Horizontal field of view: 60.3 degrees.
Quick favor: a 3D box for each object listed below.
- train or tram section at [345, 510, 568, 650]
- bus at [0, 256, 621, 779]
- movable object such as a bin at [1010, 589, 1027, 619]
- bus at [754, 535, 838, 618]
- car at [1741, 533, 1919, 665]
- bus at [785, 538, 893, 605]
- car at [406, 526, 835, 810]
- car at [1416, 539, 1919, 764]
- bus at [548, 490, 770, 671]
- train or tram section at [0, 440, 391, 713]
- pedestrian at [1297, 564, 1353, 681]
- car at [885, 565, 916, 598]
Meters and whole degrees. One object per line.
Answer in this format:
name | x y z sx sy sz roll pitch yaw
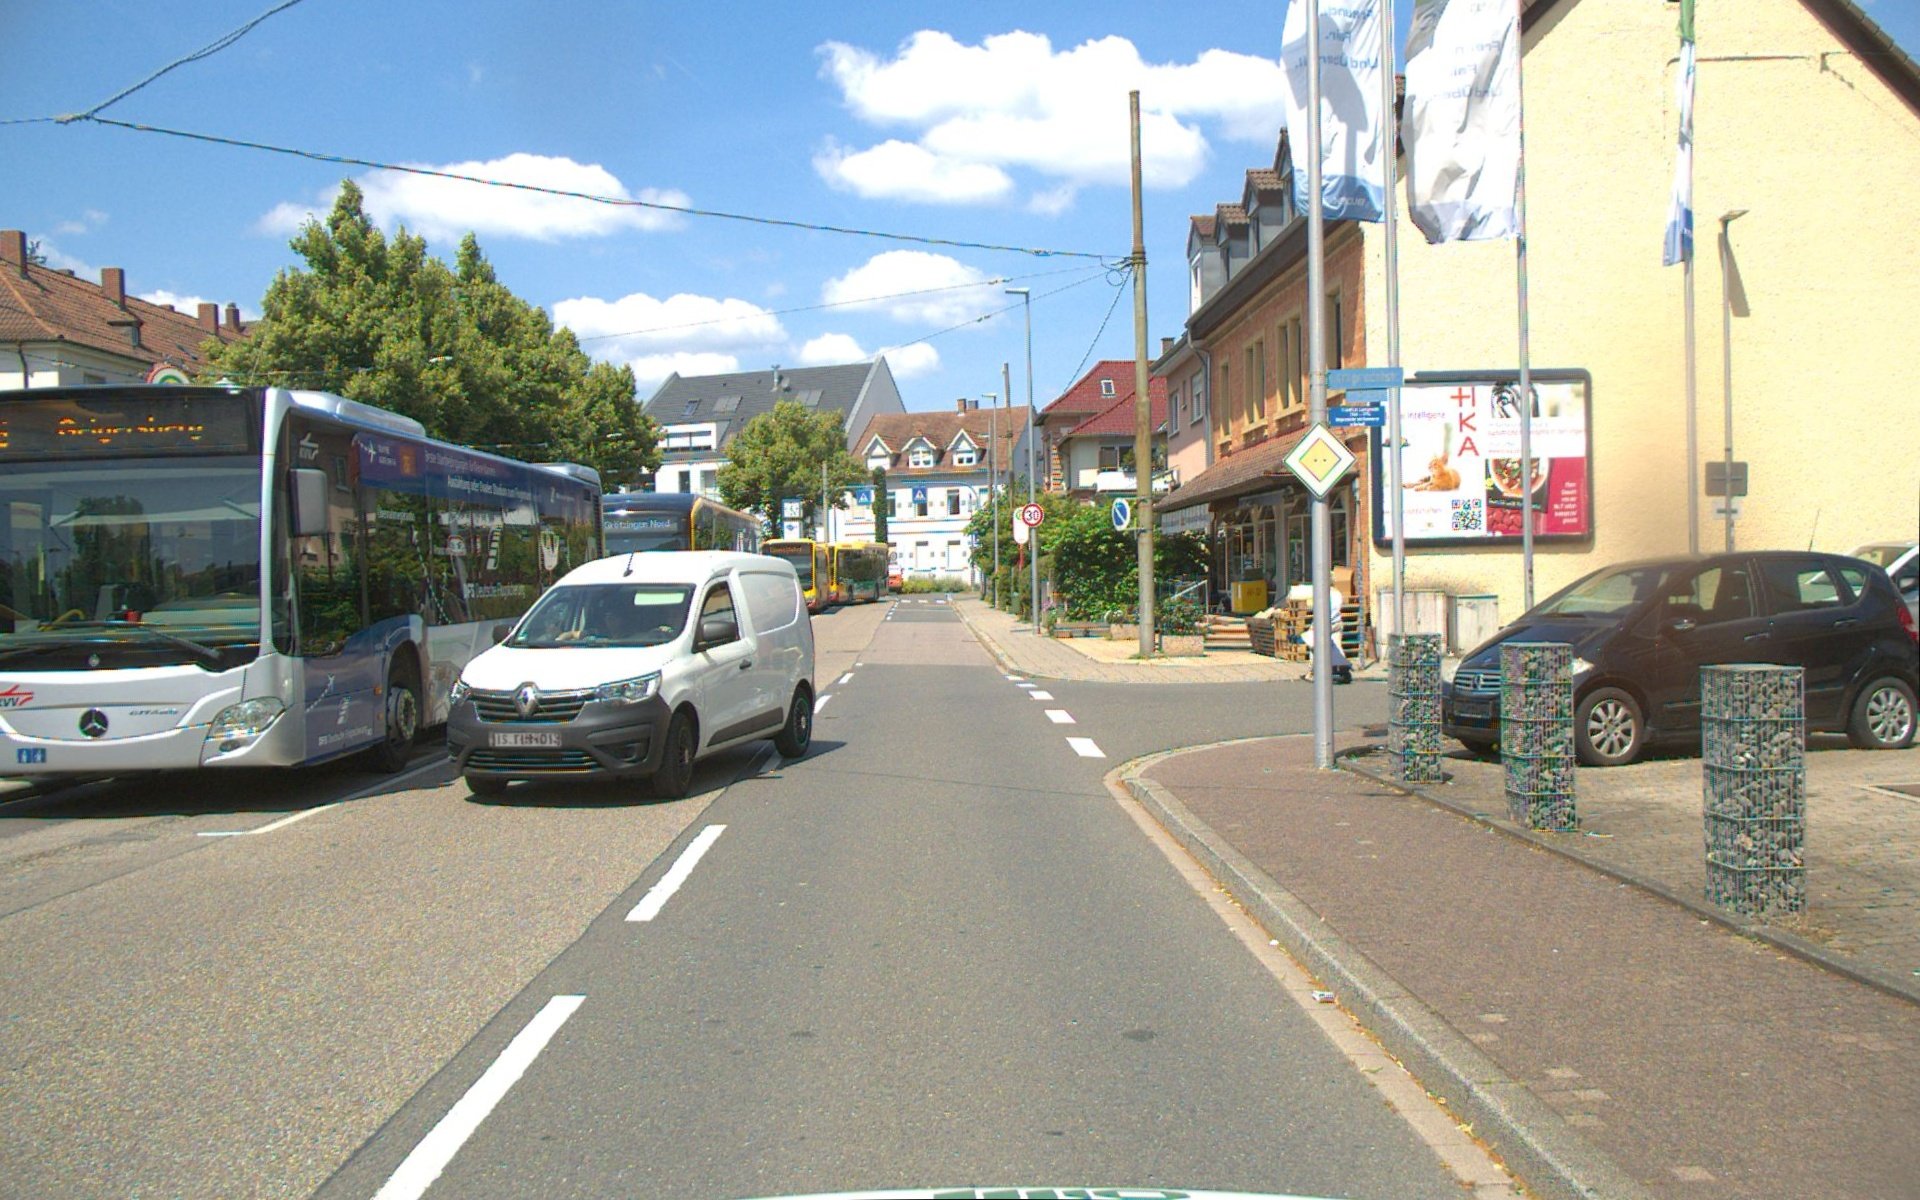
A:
train or tram section | -15.083 -0.579 51.141 2.903 3.706 13.990 1 0 -1
bus | -5.998 -0.497 17.087 2.849 3.487 12.034 1 -1 -2
movable object such as a bin | 1.908 0.125 53.930 0.398 0.922 0.729 -5 0 -5
bus | -7.052 -0.989 72.781 2.849 3.304 12.114 1 0 -2
car | 14.820 -0.059 25.231 4.955 1.894 1.906 -2 0 -5
bus | -6.132 -1.547 86.419 2.720 3.264 12.319 1 2 10
car | -2.478 0.470 13.432 1.667 1.883 4.716 0 -1 12
car | 5.857 0.354 13.311 3.811 1.570 1.835 -2 0 -14
bus | -6.264 -0.302 36.670 2.839 3.304 12.193 1 -1 -1
train or tram section | -14.632 -0.388 30.125 2.903 3.706 17.347 1 0 -1
pedestrian | 5.390 0.321 24.396 0.690 1.670 0.660 -2 2 19
car | -3.838 -1.195 107.222 1.953 2.049 3.999 1 -1 -1
